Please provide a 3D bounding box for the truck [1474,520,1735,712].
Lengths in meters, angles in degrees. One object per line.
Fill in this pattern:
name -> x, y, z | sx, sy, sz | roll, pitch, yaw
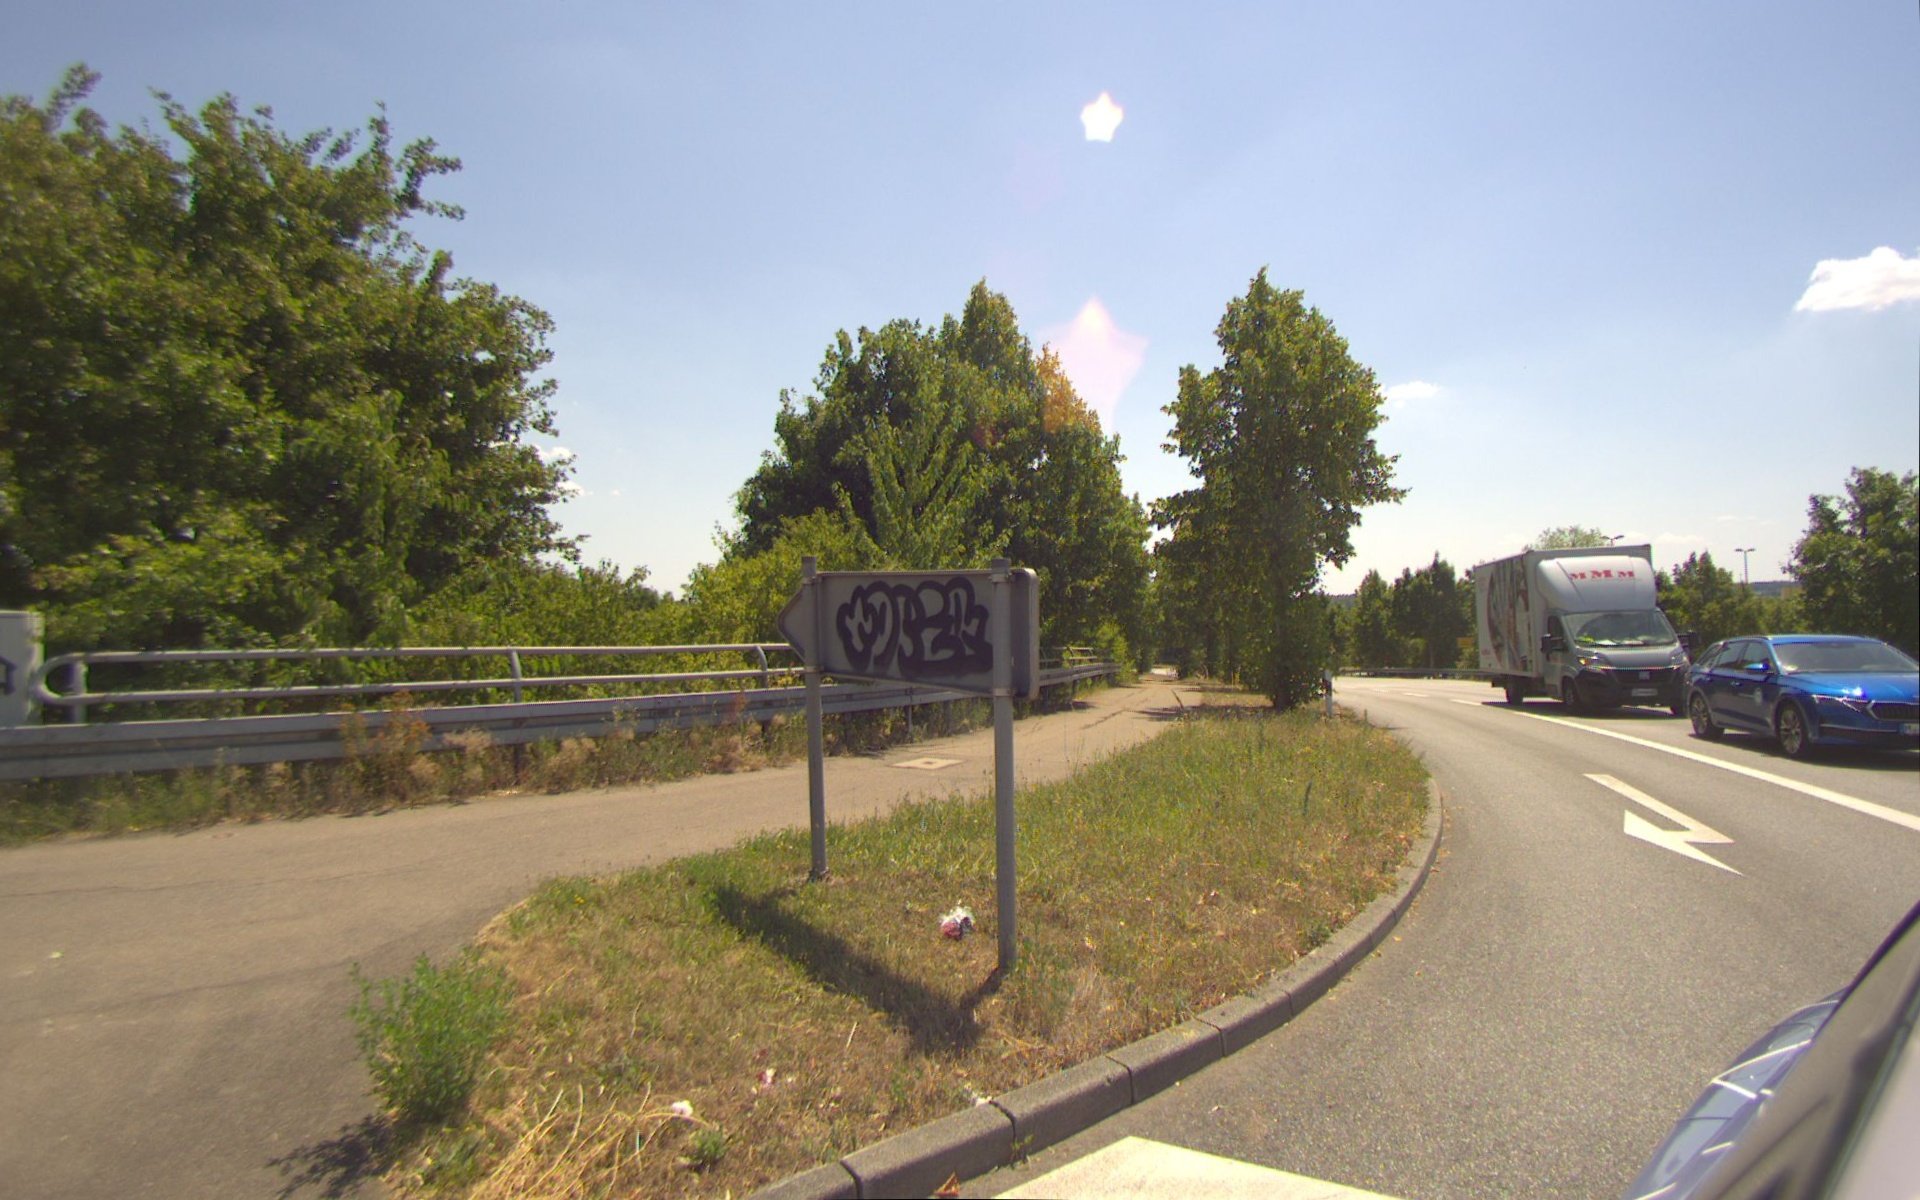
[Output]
truck -> 13.313, 0.480, 21.691 | 2.380, 3.392, 7.168 | -1, -3, 14

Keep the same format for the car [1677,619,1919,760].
car -> 10.938, 1.030, 12.788 | 1.690, 1.482, 4.462 | -2, -3, 17
